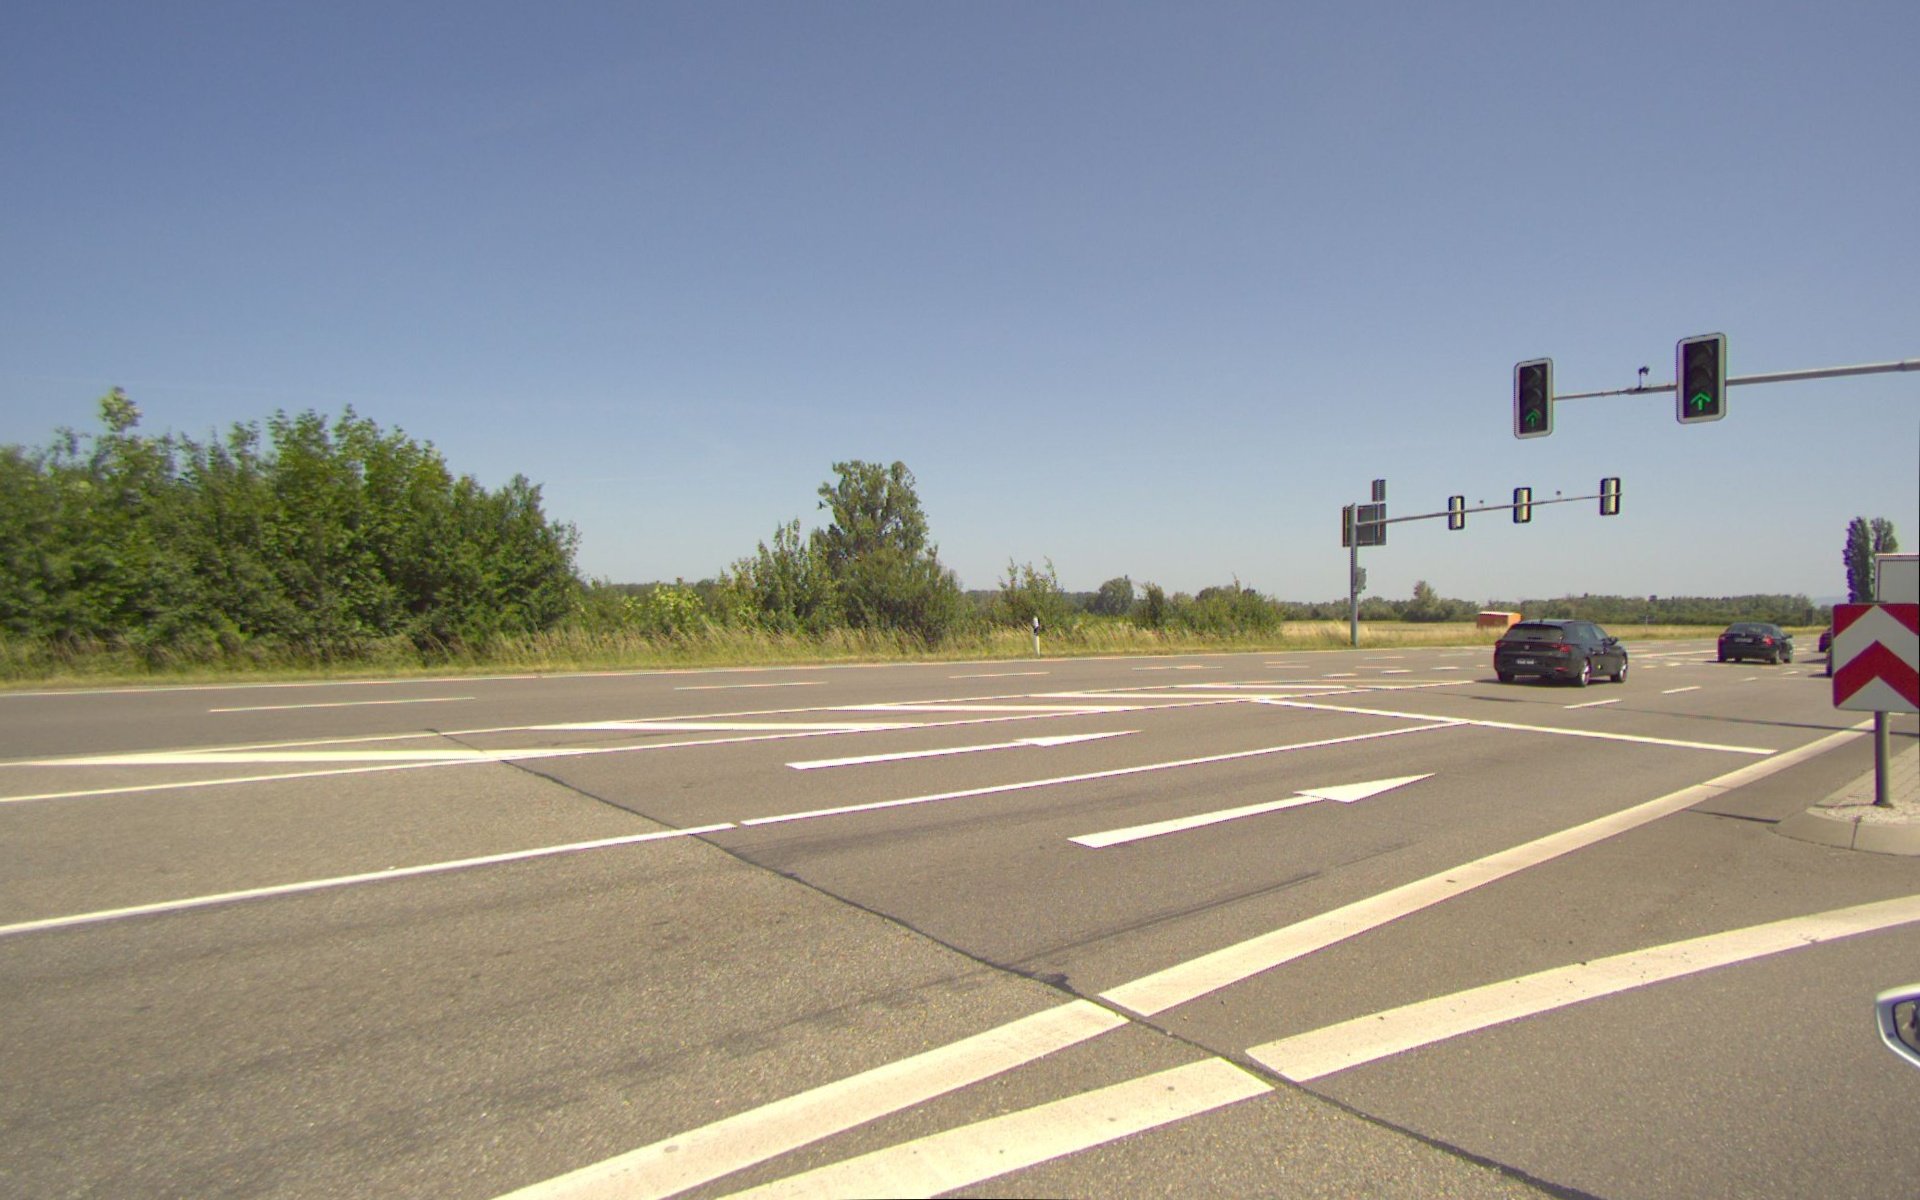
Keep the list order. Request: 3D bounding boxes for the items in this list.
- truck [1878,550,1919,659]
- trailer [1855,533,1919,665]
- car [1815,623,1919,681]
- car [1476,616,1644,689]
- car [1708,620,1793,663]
[{"bbox_3d":[43.141,0.267,44.302,6.327,4.603,3.349,2,0,-43],"label":"truck"},{"bbox_3d":[38.123,0.093,39.453,12.783,4.603,3.348,2,0,-44],"label":"trailer"},{"bbox_3d":[25.813,1.423,28.421,4.345,1.450,1.769,1,1,-41],"label":"car"},{"bbox_3d":[13.817,1.161,23.021,4.488,1.466,1.874,2,0,-39],"label":"car"},{"bbox_3d":[28.778,1.508,36.523,4.433,1.430,1.660,2,0,-42],"label":"car"}]
